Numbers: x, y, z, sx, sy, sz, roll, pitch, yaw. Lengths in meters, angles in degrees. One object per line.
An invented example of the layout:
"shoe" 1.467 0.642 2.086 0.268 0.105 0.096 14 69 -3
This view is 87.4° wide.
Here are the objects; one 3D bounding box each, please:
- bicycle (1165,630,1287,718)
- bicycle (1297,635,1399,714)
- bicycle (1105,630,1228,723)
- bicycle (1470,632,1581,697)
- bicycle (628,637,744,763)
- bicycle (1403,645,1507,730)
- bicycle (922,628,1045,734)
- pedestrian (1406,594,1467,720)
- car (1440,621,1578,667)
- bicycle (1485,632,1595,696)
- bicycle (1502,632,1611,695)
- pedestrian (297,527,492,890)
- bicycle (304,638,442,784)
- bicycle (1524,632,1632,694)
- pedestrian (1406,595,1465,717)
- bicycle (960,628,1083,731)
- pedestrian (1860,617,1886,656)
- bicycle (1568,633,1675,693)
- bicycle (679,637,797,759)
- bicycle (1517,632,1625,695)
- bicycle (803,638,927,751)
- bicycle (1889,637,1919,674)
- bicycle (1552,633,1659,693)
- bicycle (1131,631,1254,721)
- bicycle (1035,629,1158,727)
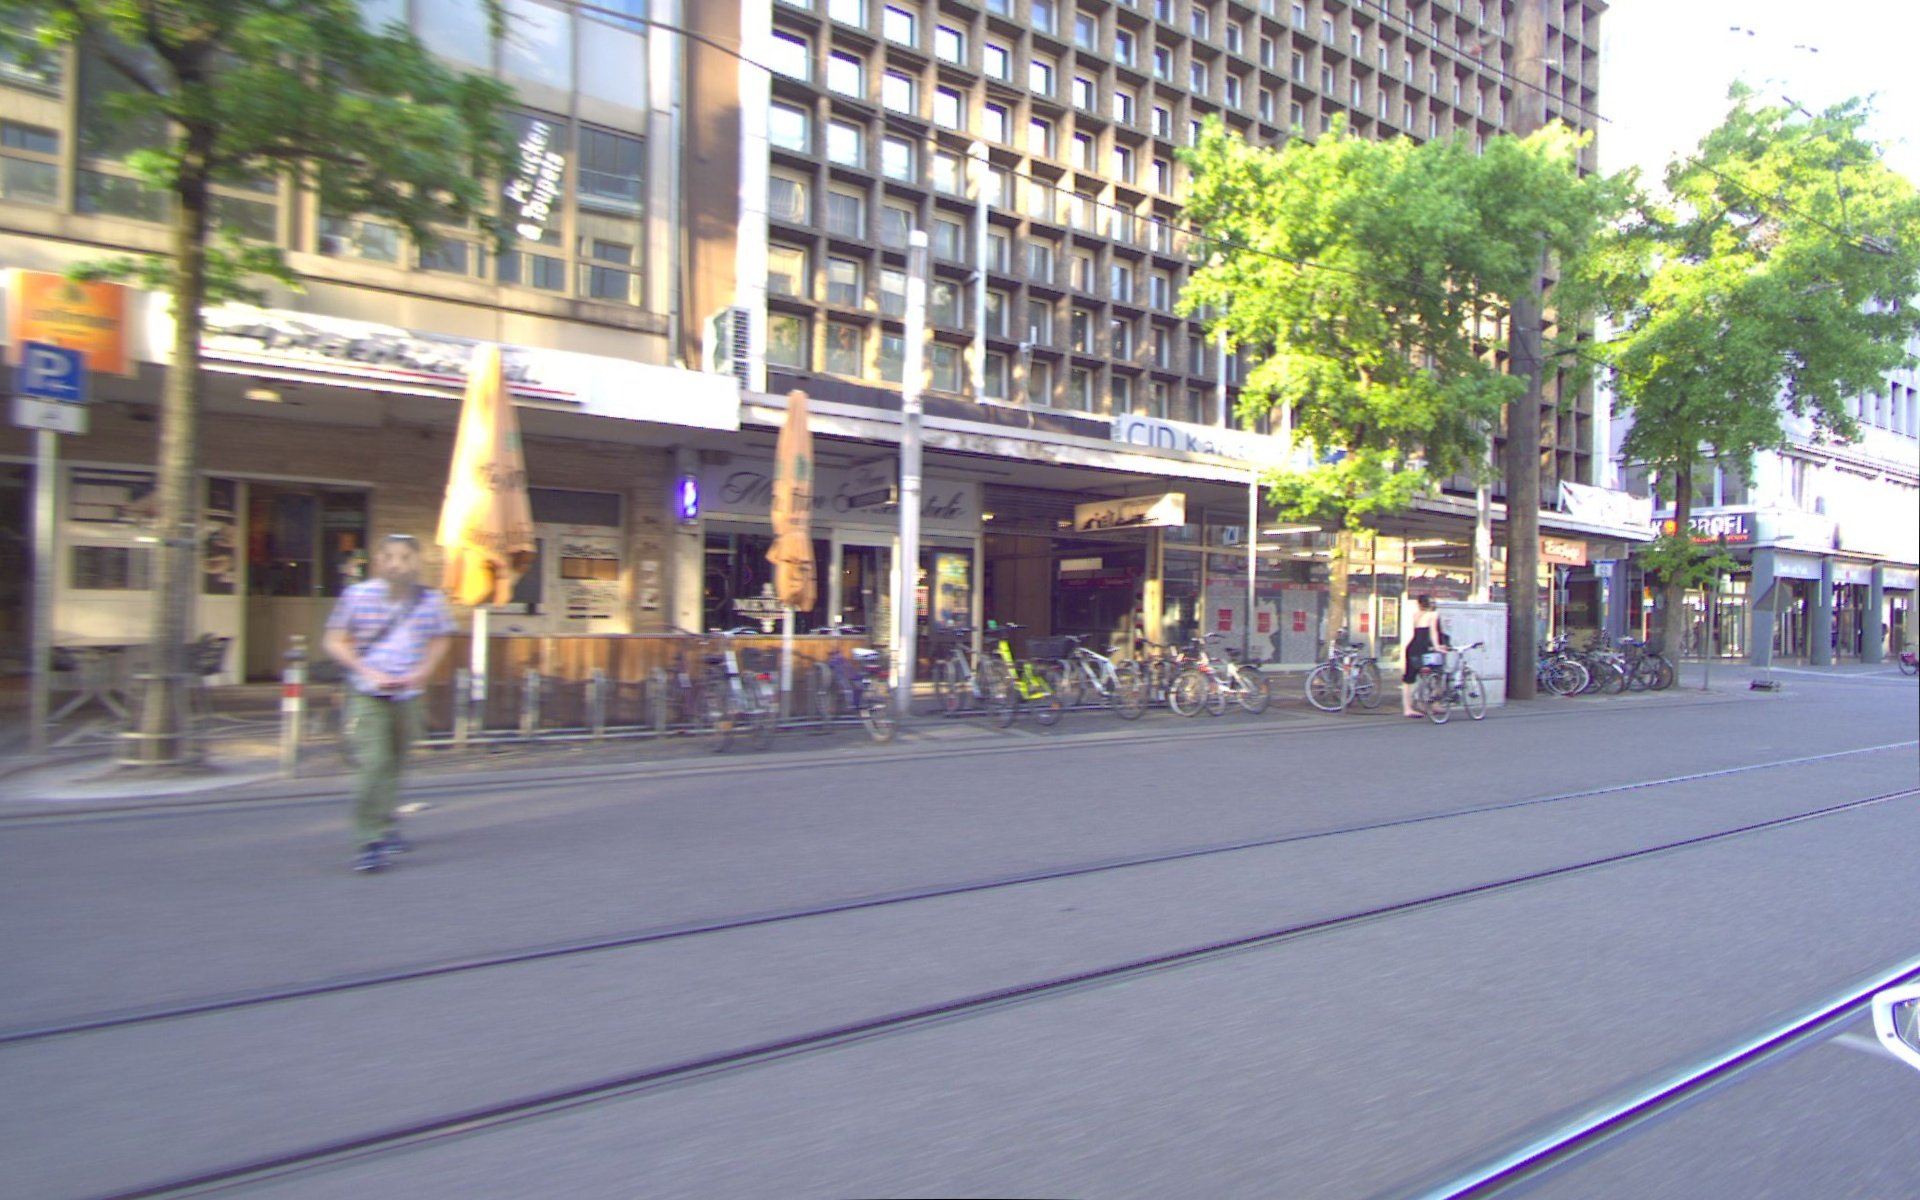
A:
"bicycle" 3.765 1.016 14.352 0.485 1.085 1.759 0 2 -36
"bicycle" 5.709 1.066 14.731 1.759 1.059 0.485 1 0 -35
"bicycle" 2.781 1.007 13.689 0.485 1.085 1.759 0 2 -36
"bicycle" 10.455 1.166 18.623 0.484 1.059 1.763 1 1 -30
"bicycle" -2.683 0.914 9.720 0.485 1.003 1.759 0 2 -36
"bicycle" 6.846 1.175 13.854 1.759 1.059 0.485 1 0 -35
"bicycle" 0.249 0.928 12.072 0.485 1.085 1.759 0 2 -36
"pedestrian" 6.674 0.788 14.092 0.525 1.722 0.603 1 0 -2
"car" 20.183 1.581 37.068 1.781 1.530 4.095 2 -1 -33
"bicycle" 10.870 1.173 18.875 0.484 1.059 1.763 1 1 -30
"bicycle" 11.351 1.188 19.172 0.484 1.059 1.763 1 1 -30
"pedestrian" -3.197 0.530 5.650 0.815 1.817 0.980 1 2 -37
"bicycle" -4.822 0.863 8.356 0.481 0.979 1.772 2 1 -14
"bicycle" 12.030 1.209 19.617 0.484 1.059 1.763 1 1 -30
"pedestrian" 6.906 0.798 14.608 0.525 1.722 0.603 1 0 -2
"bicycle" 0.724 0.943 12.390 0.485 1.085 1.759 0 2 -36
"pedestrian" 41.524 1.641 45.702 0.702 1.748 0.709 2 -1 -33
"bicycle" 13.427 1.253 20.441 0.484 1.059 1.763 1 1 -30
"bicycle" -2.243 0.928 10.003 0.485 1.003 1.759 0 2 -36
"bicycle" 11.825 1.203 19.493 0.484 1.059 1.763 1 1 -30
"bicycle" -1.054 0.965 10.733 0.485 1.003 1.759 0 2 -36
"bicycle" 30.708 1.776 32.386 1.776 1.122 0.497 0 0 -27
"bicycle" 12.921 1.237 20.170 0.484 1.059 1.763 1 1 -30
"bicycle" 3.211 1.021 14.020 0.485 1.085 1.759 0 2 -36
"bicycle" 1.740 0.975 13.081 0.485 1.085 1.759 0 2 -36
